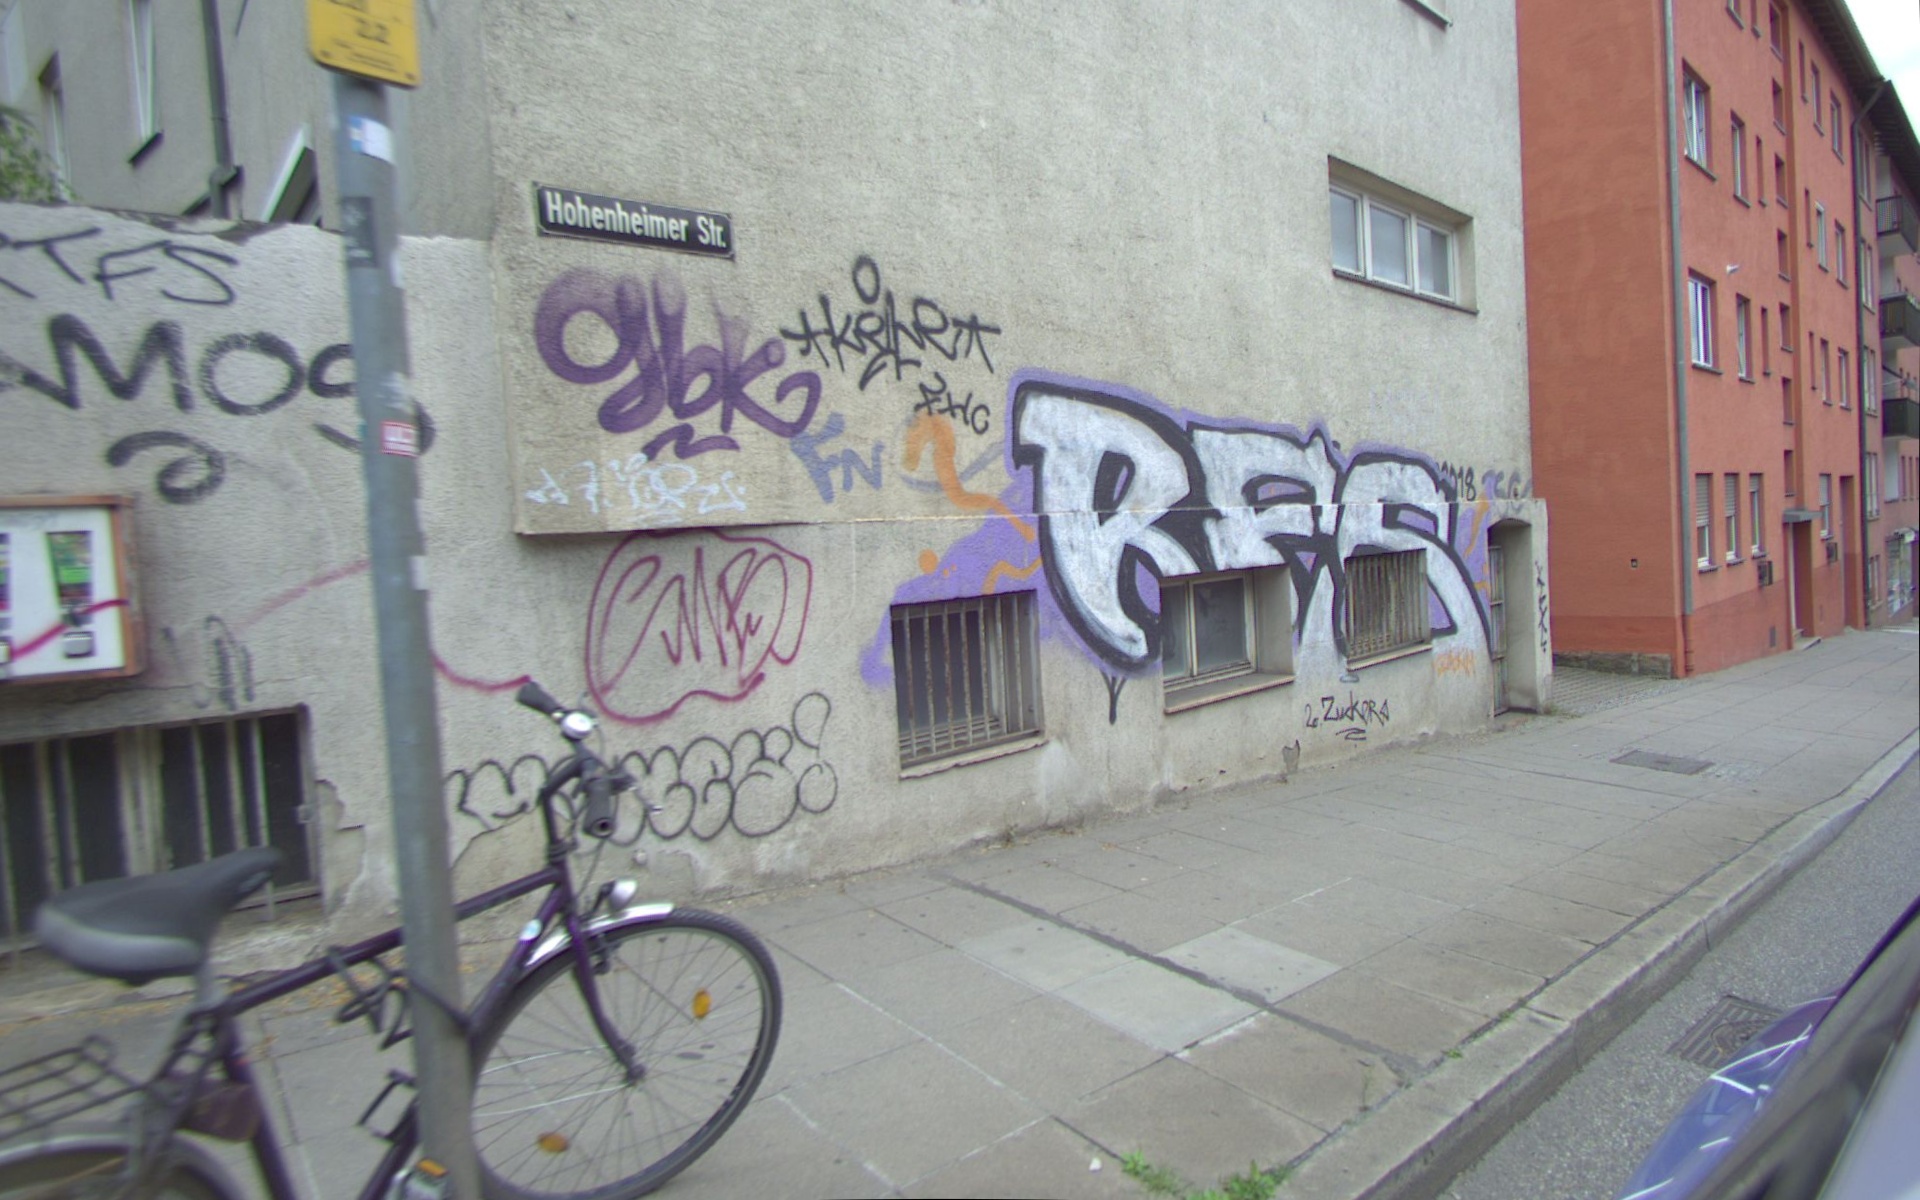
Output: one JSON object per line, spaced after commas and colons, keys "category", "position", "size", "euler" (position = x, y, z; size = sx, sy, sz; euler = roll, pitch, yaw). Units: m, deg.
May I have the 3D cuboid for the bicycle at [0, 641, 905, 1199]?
{"category": "bicycle", "position": [-0.833, 0.707, 1.520], "size": [0.634, 1.157, 2.048], "euler": [1, 1, 24]}
